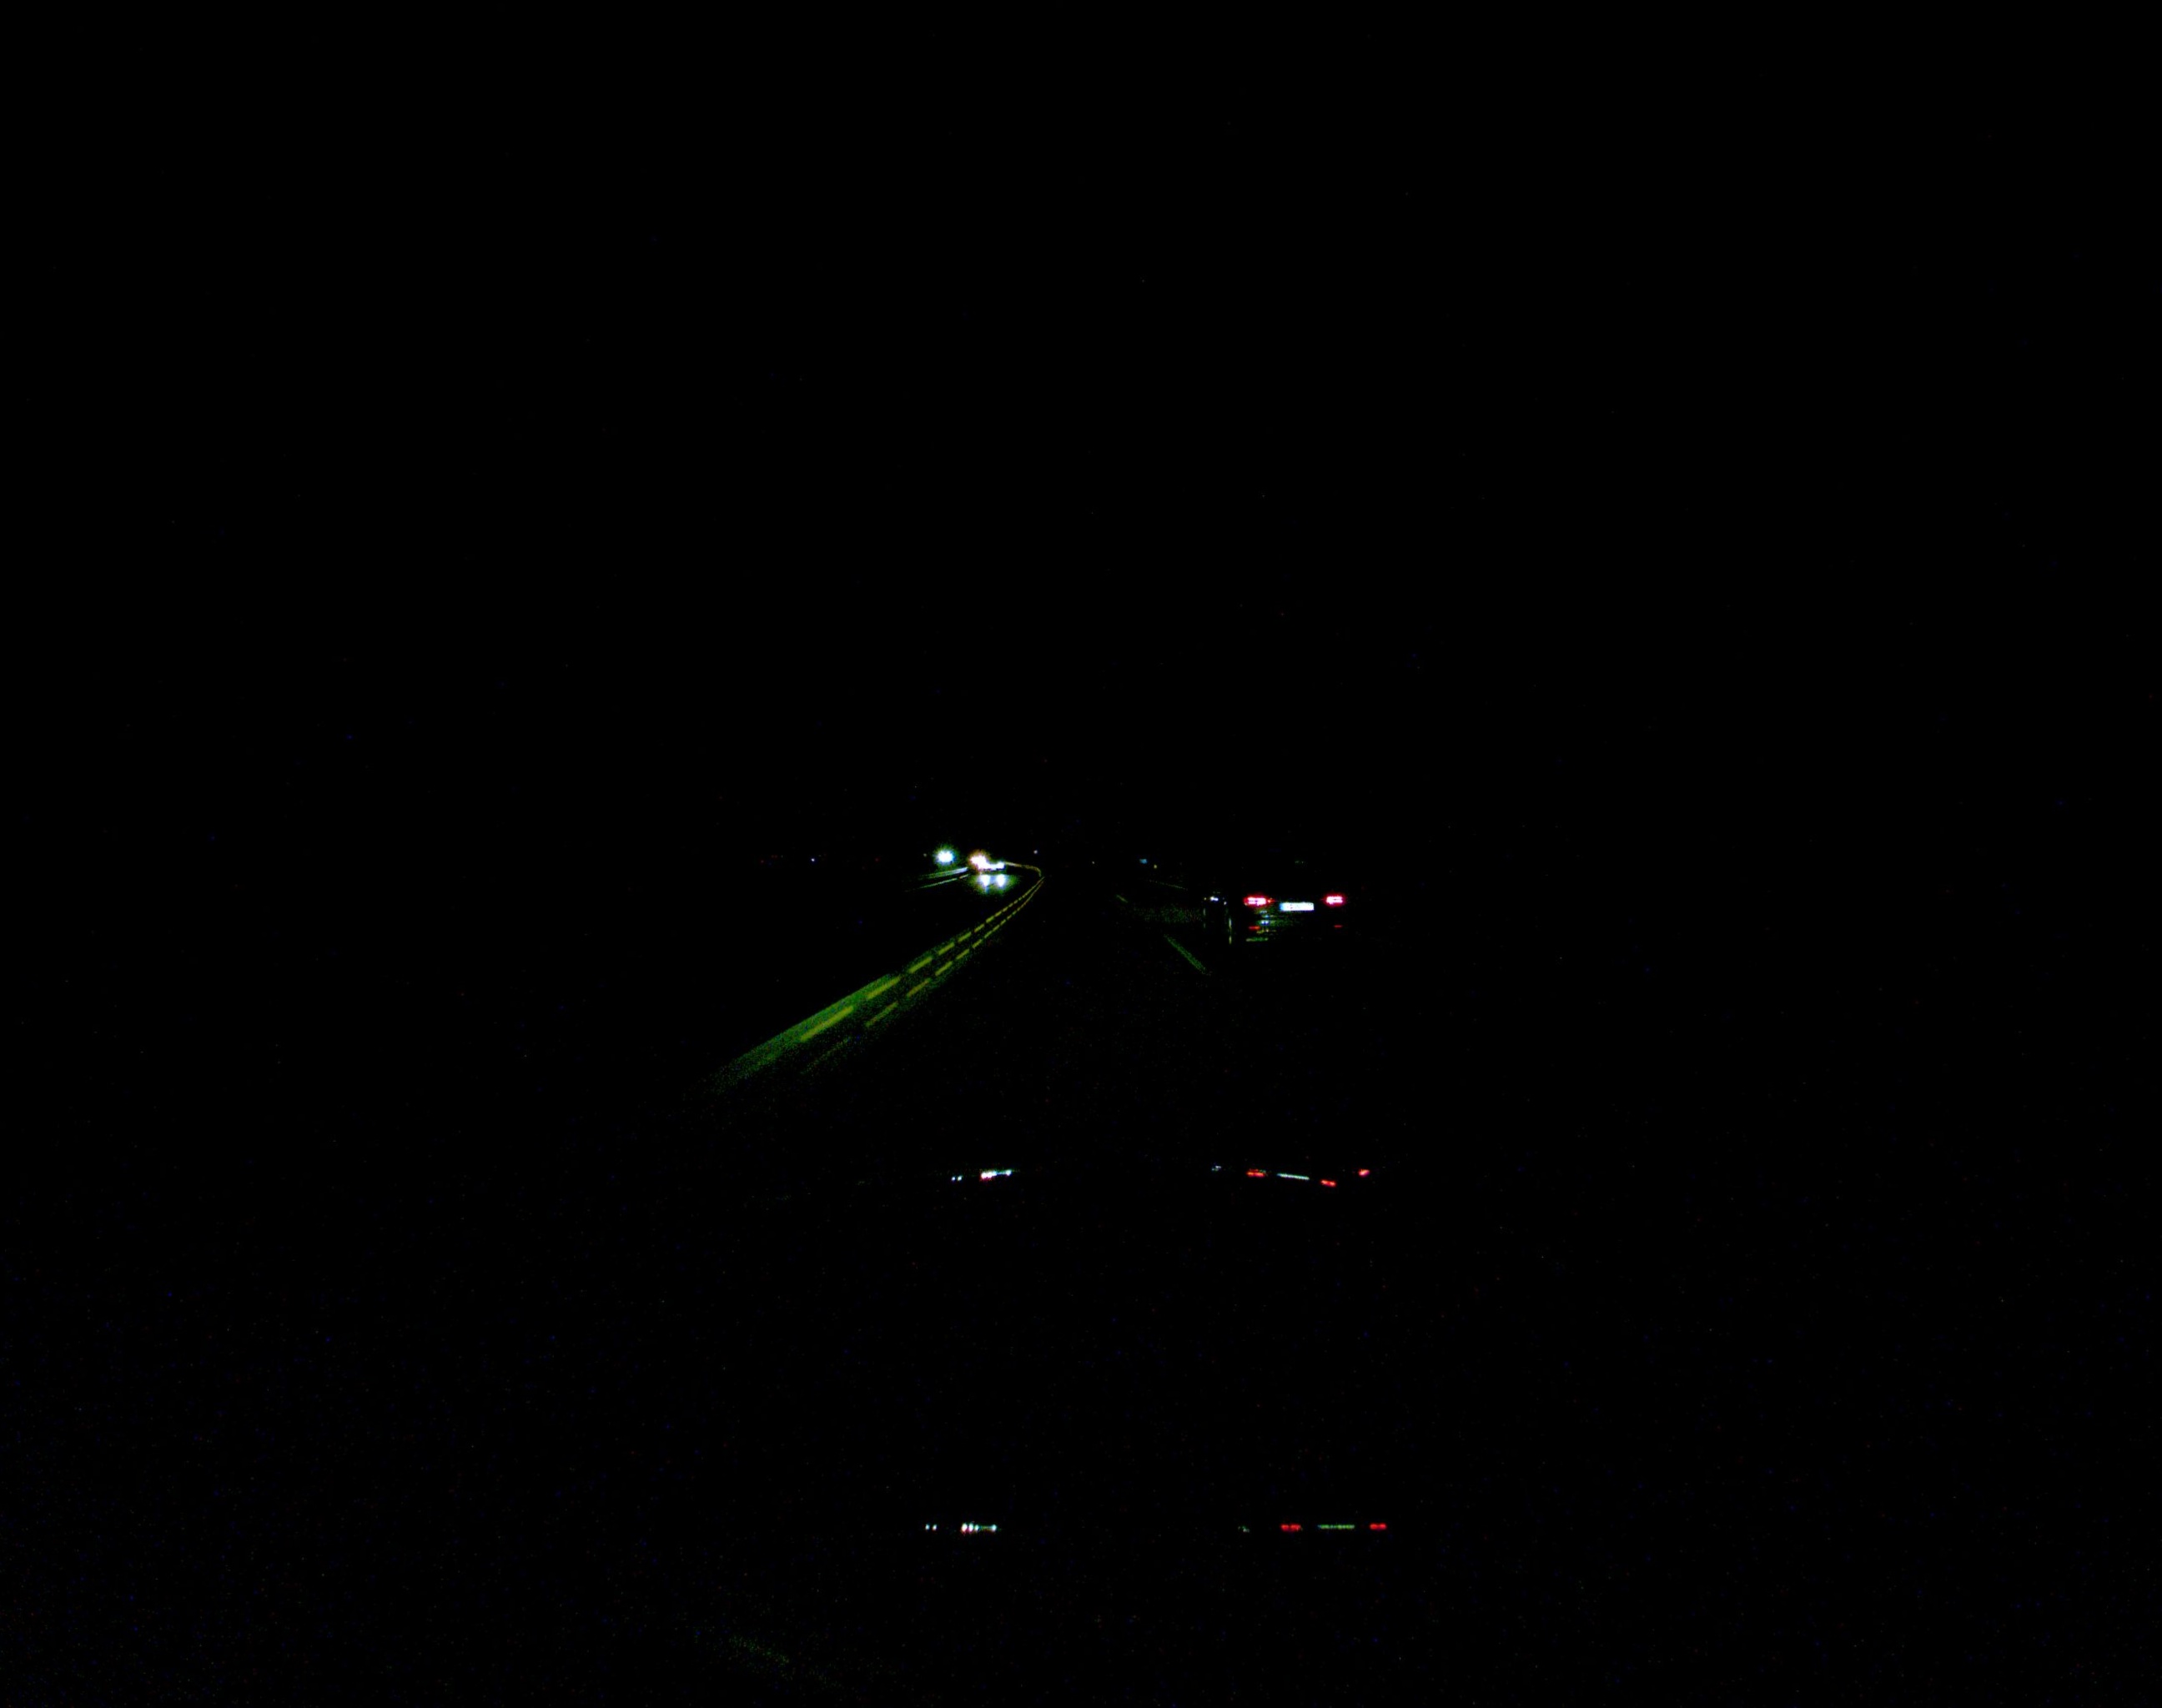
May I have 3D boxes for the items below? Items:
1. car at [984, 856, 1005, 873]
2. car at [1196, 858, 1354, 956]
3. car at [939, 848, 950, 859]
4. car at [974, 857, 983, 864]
[{"bbox_3d":[-8.741,1.064,82.427,2.010,1.639,4.852,-1,-1,-6],"label":"car"},{"bbox_3d":[3.250,0.808,14.610,1.801,1.426,4.877,-1,0,2],"label":"car"},{"bbox_3d":[-43.214,-0.150,258.068,2.492,3.105,7.341,-1,-1,-17],"label":"car"},{"bbox_3d":[-22.579,1.405,179.931,1.685,1.459,4.184,-1,0,-11],"label":"car"}]
